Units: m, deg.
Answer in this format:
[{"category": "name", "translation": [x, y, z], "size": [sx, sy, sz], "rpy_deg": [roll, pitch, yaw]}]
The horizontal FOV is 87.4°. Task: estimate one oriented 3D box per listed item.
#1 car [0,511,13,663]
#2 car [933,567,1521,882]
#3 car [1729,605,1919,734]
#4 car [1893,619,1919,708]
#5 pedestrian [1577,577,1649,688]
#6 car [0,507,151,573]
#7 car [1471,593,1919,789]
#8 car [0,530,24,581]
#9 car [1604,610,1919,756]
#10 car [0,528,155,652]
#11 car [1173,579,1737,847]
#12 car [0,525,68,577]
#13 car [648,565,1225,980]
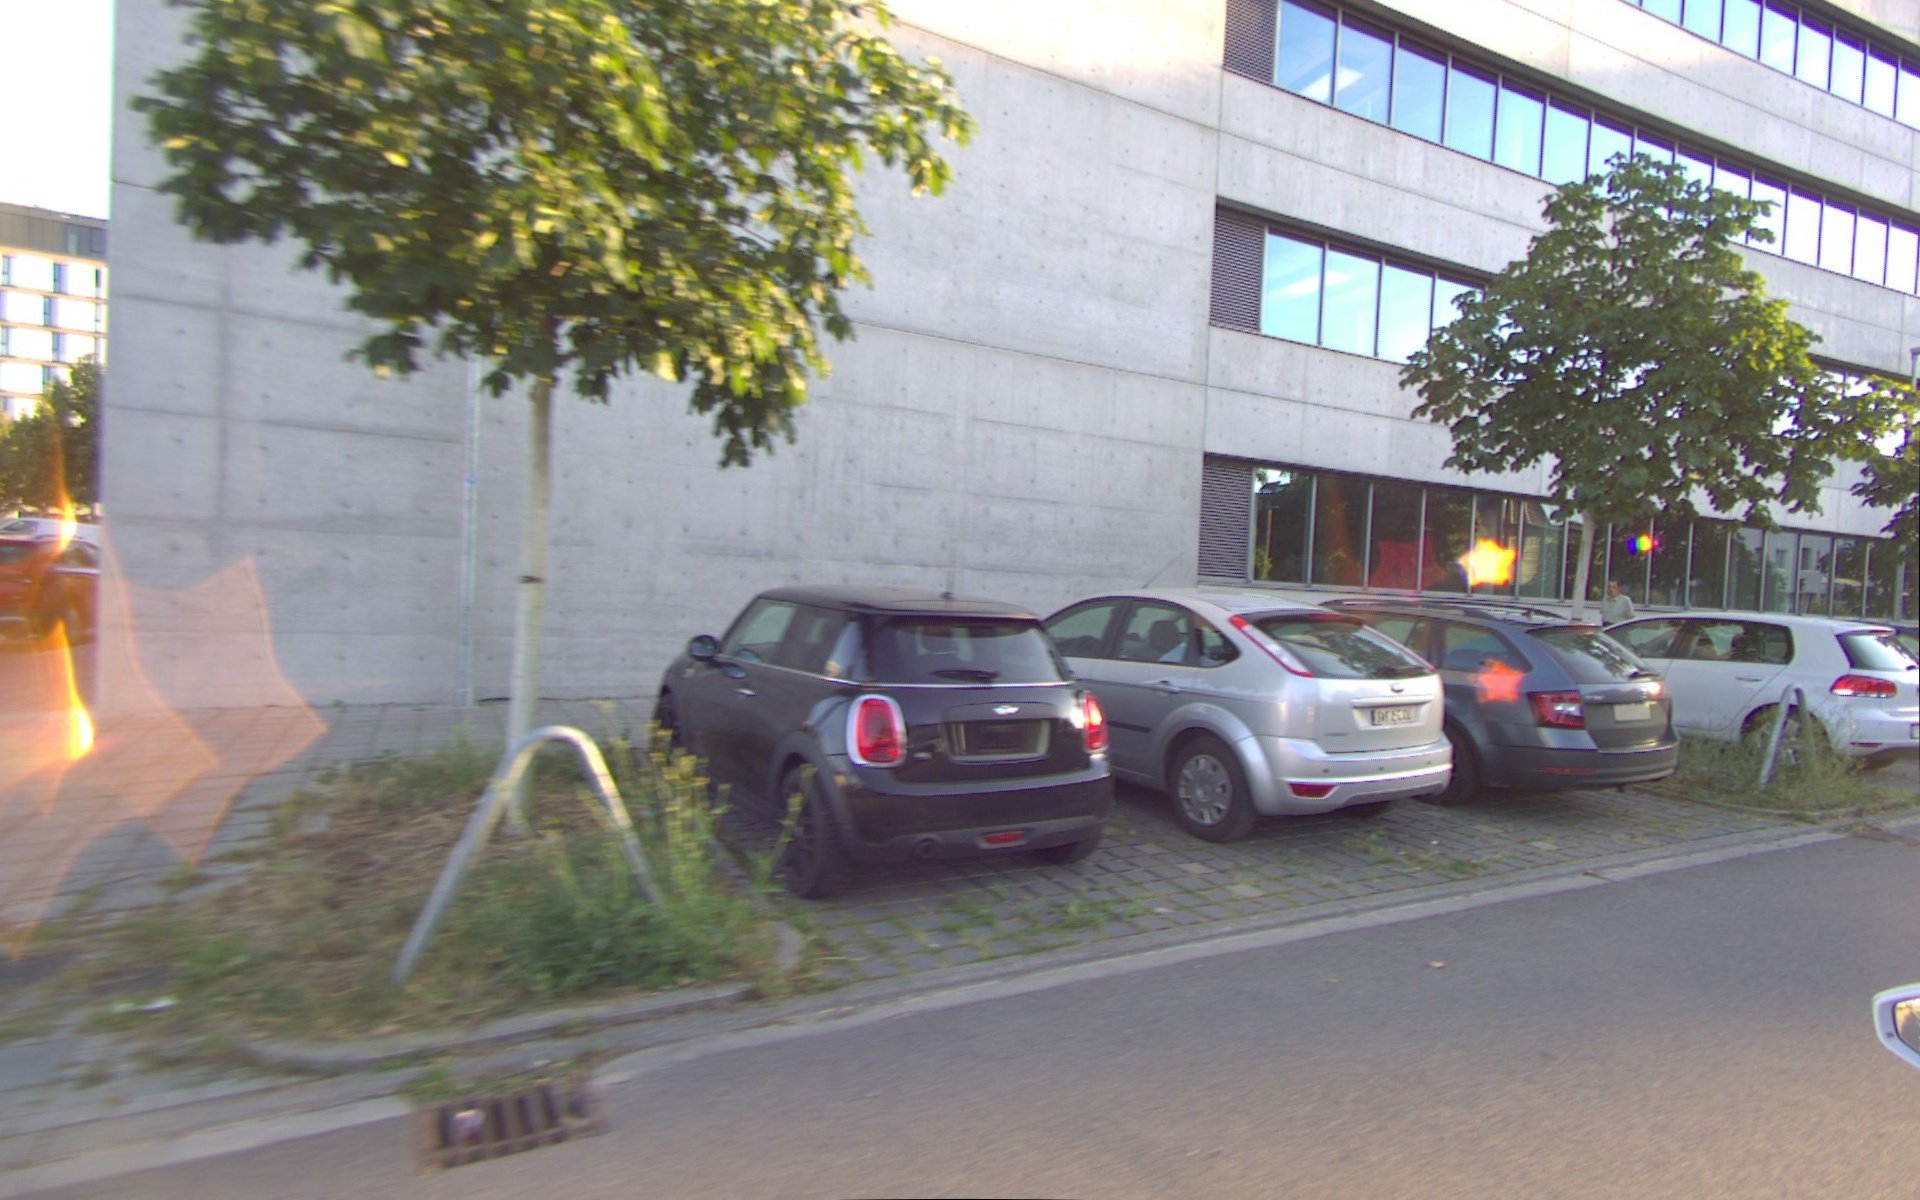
[{"category": "car", "translation": [-11.755, -0.097, 10.296], "size": [1.823, 1.856, 4.070], "rpy_deg": [0, 2, -26]}, {"category": "car", "translation": [1.608, 0.621, 7.474], "size": [1.825, 1.549, 4.064], "rpy_deg": [2, 2, -31]}, {"category": "car", "translation": [12.926, 0.952, 13.372], "size": [1.736, 1.532, 3.858], "rpy_deg": [2, 2, -24]}, {"category": "car", "translation": [17.402, 1.160, 15.724], "size": [1.688, 1.477, 3.692], "rpy_deg": [3, 1, -24]}, {"category": "pedestrian", "translation": [10.944, 0.535, 16.841], "size": [0.715, 1.808, 0.643], "rpy_deg": [2, 2, -25]}, {"category": "car", "translation": [-34.355, -2.316, 39.132], "size": [4.080, 2.052, 1.655], "rpy_deg": [5, 1, -29]}, {"category": "car", "translation": [7.930, 0.800, 10.878], "size": [1.737, 1.532, 3.971], "rpy_deg": [2, 2, -27]}, {"category": "car", "translation": [-31.667, -1.569, 30.701], "size": [4.080, 1.519, 1.655], "rpy_deg": [6, 1, -29]}, {"category": "car", "translation": [10.335, 0.933, 12.393], "size": [1.666, 1.380, 3.615], "rpy_deg": [1, 2, -29]}, {"category": "car", "translation": [-13.877, -0.192, 15.084], "size": [1.753, 1.652, 4.030], "rpy_deg": [-1, 2, -24]}, {"category": "car", "translation": [3.767, 0.679, 8.395], "size": [1.567, 1.533, 3.976], "rpy_deg": [0, 3, -31]}, {"category": "car", "translation": [-32.589, -1.768, 33.339], "size": [4.080, 1.519, 1.655], "rpy_deg": [6, 1, -29]}, {"category": "car", "translation": [-0.475, 0.616, 5.861], "size": [1.749, 1.502, 3.715], "rpy_deg": [1, 3, -31]}]
